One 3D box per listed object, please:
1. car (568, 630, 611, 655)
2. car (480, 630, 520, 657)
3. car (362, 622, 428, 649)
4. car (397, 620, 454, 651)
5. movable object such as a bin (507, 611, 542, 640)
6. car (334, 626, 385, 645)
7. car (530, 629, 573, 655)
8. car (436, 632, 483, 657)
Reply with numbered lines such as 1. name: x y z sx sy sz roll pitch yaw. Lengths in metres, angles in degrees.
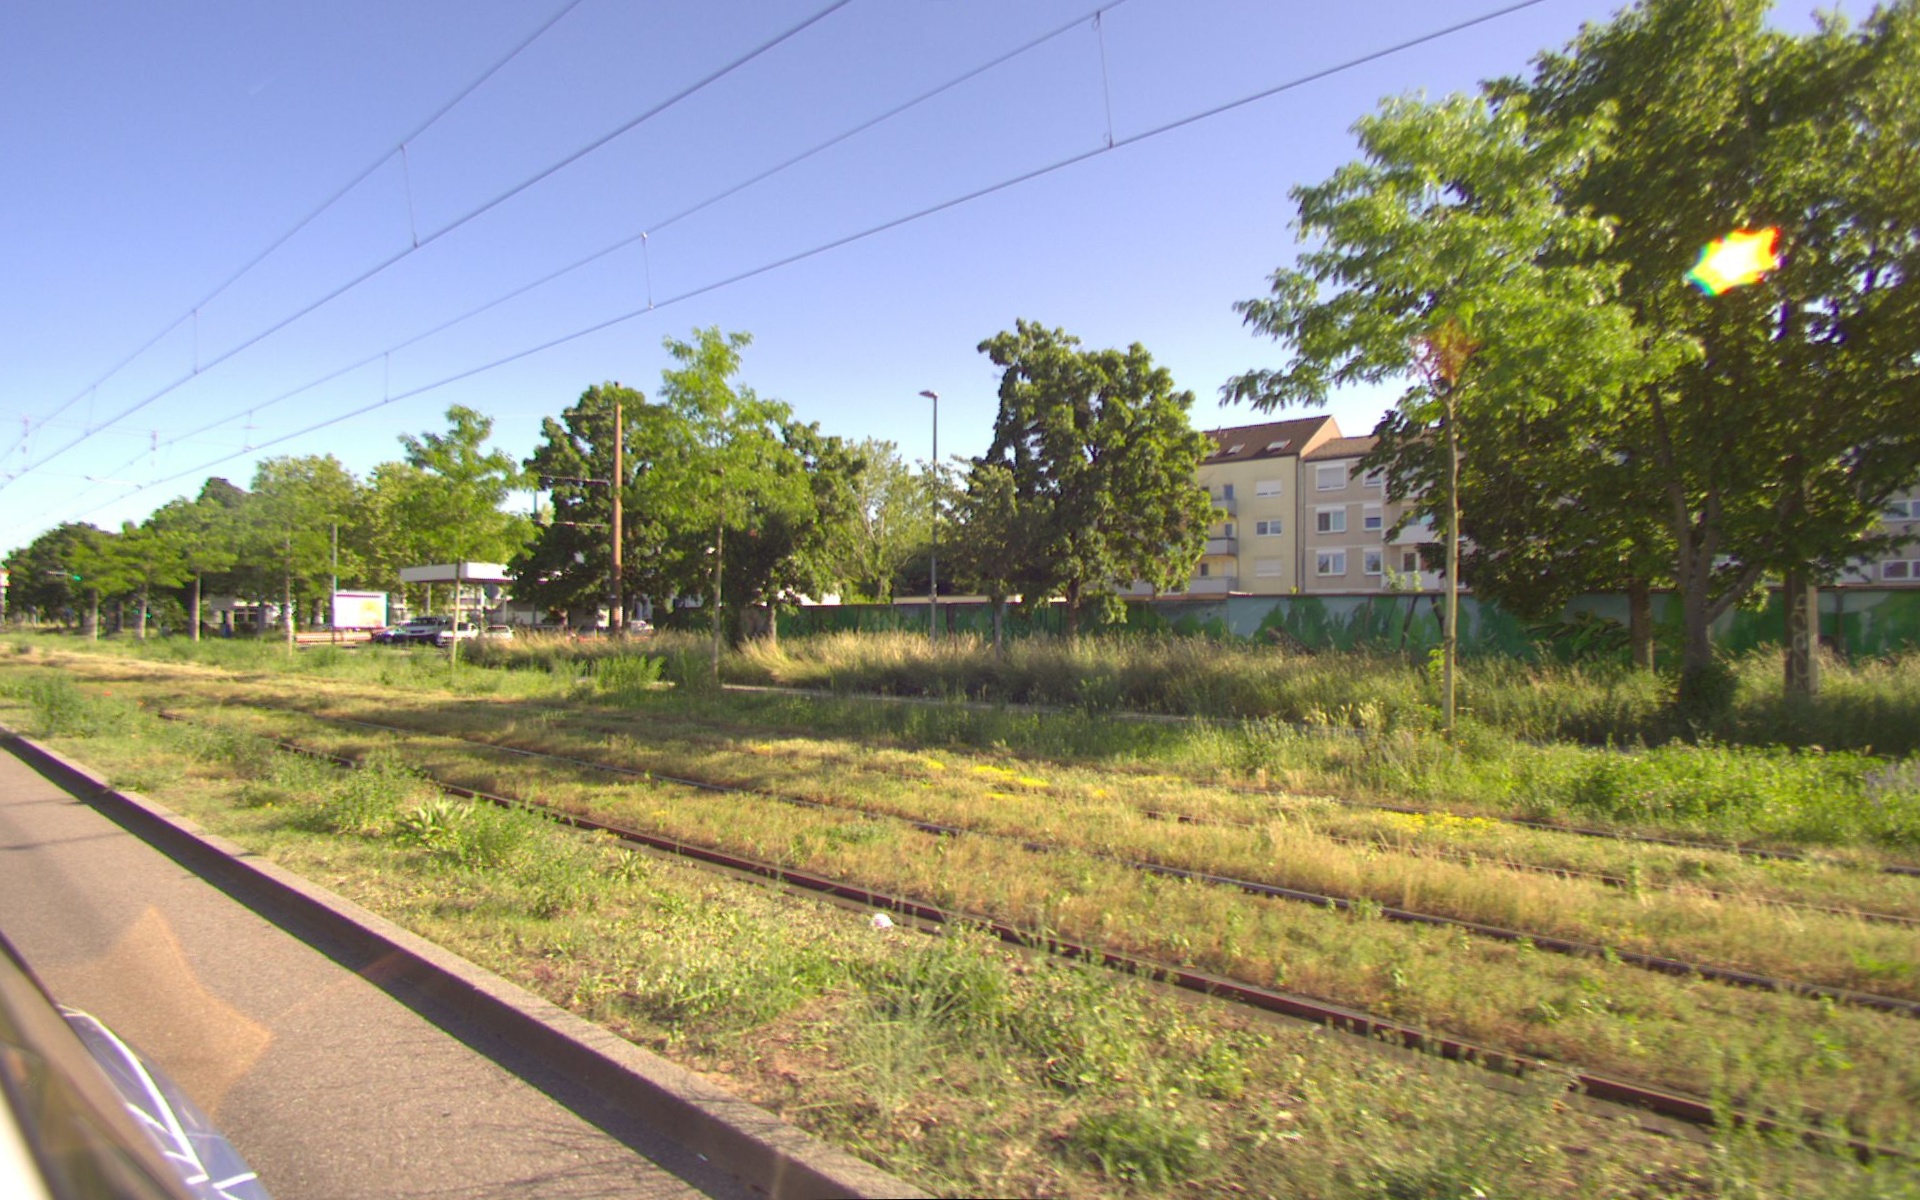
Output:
1. car: -23.715 2.727 64.972 1.994 1.562 4.311 1 -2 -12
2. car: -28.671 2.680 63.202 1.992 1.519 4.905 1 -1 -22
3. car: -42.665 2.659 76.497 2.000 1.871 3.944 -2 -1 43
4. car: -34.591 2.296 65.670 1.868 1.925 4.820 0 -2 -10
5. movable object such as a bin: -21.436 1.246 49.817 1.119 1.379 1.212 -1 -1 37
6. car: -60.863 3.593 102.658 1.997 1.840 4.002 -1 -1 37
7. car: -25.683 2.615 63.683 1.819 1.519 4.001 1 -1 -12
8. car: -31.088 2.734 63.003 1.688 1.435 4.469 0 -1 -14
